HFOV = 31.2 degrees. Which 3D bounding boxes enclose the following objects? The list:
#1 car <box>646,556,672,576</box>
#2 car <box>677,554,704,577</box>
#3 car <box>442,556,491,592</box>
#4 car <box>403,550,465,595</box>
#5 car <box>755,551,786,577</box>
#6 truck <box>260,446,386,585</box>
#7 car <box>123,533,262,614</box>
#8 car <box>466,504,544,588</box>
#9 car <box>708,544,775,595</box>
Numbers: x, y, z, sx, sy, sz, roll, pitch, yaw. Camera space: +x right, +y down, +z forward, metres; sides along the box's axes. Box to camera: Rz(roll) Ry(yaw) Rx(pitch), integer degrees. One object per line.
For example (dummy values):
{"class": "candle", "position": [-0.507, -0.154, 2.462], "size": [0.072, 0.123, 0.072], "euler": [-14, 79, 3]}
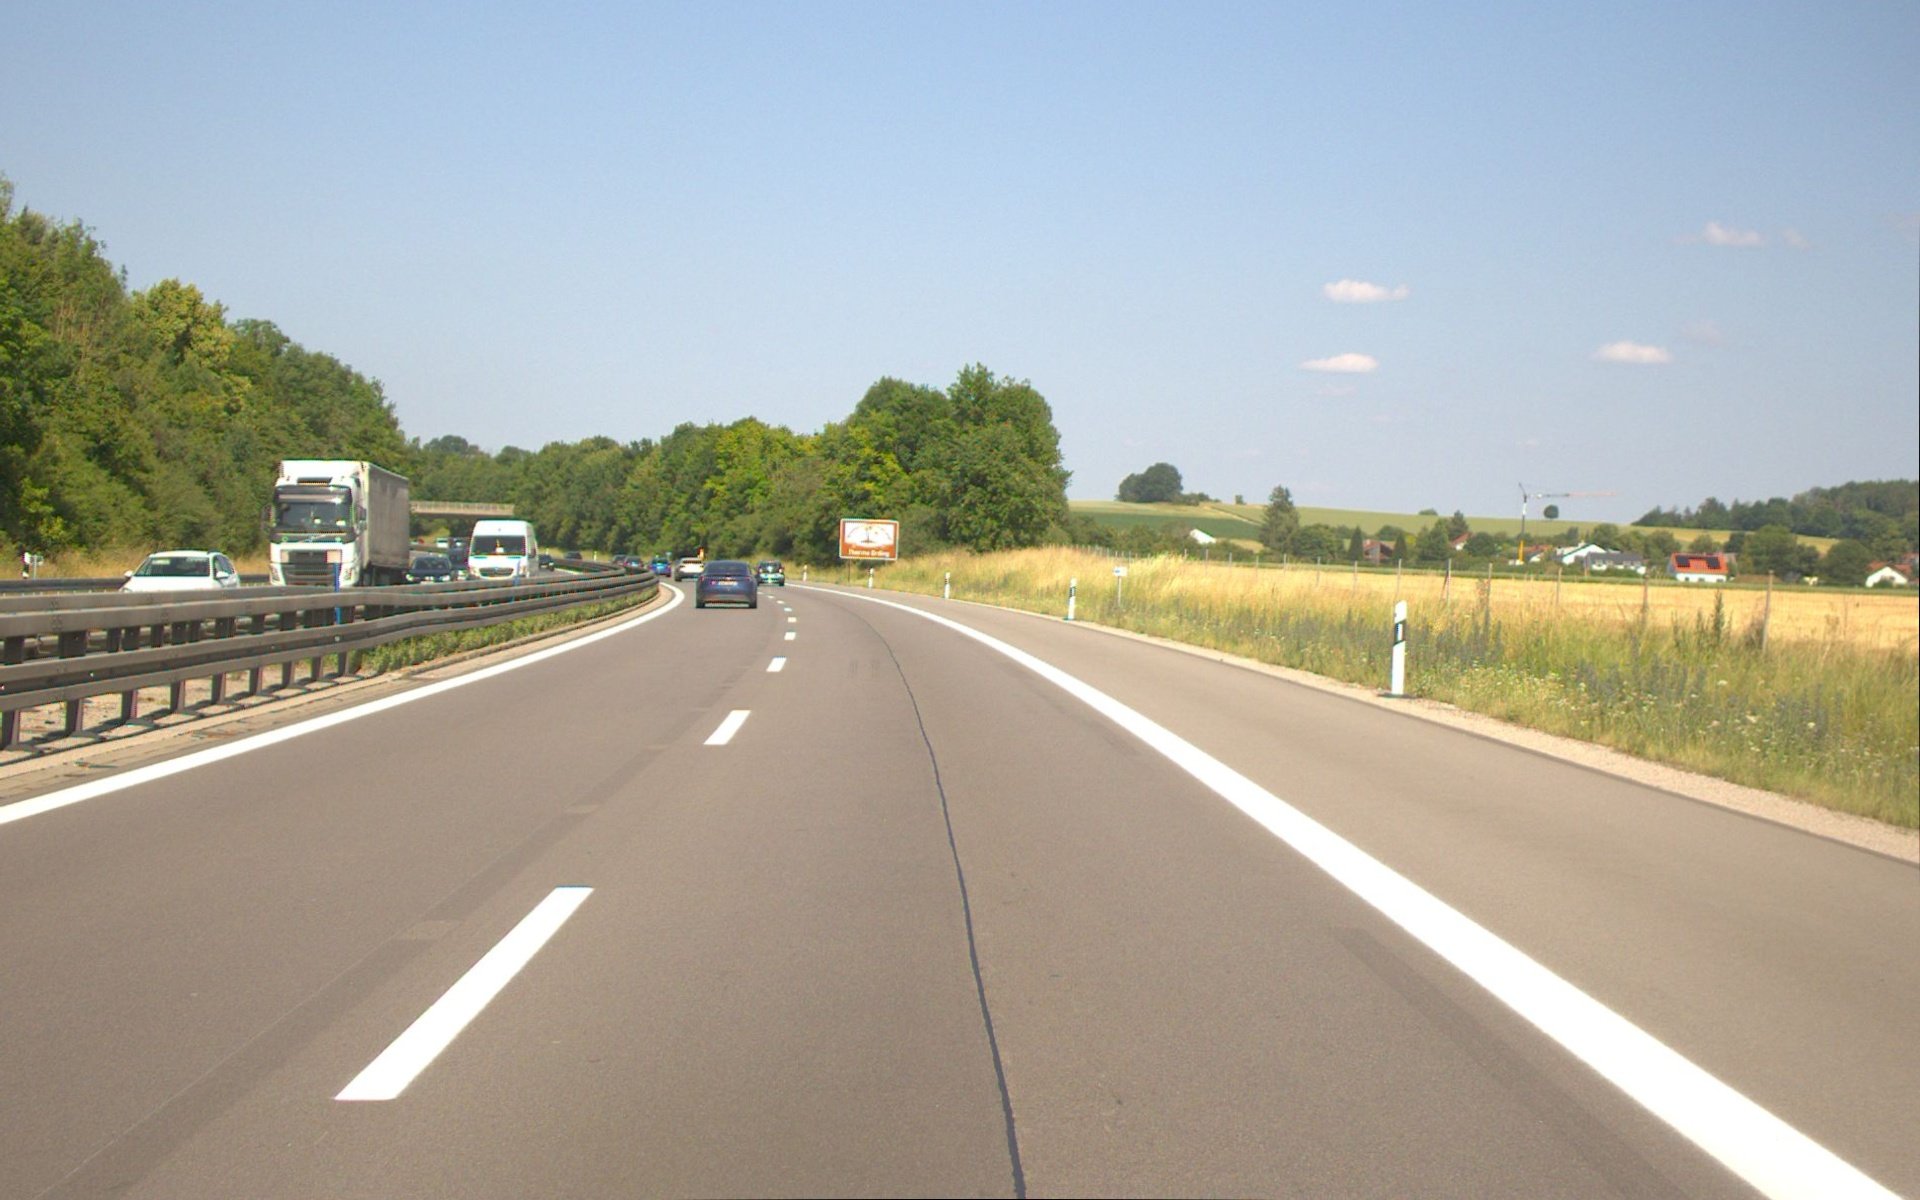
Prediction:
{"class": "car", "position": [-22.582, -2.552, 258.321], "size": [1.676, 1.448, 3.592], "euler": [1, 1, -1]}
{"class": "car", "position": [-17.526, -2.260, 224.014], "size": [1.676, 1.448, 3.592], "euler": [1, 1, -4]}
{"class": "car", "position": [-23.035, -1.235, 160.484], "size": [1.757, 1.621, 4.000], "euler": [1, 1, -1]}
{"class": "car", "position": [-19.801, -1.051, 129.565], "size": [1.757, 1.621, 4.000], "euler": [1, 1, -1]}
{"class": "car", "position": [-10.769, -2.055, 195.279], "size": [1.676, 1.448, 3.592], "euler": [1, 1, -4]}
{"class": "truck", "position": [-18.332, -2.421, 99.207], "size": [2.745, 3.816, 5.912], "euler": [1, 1, -3]}
{"class": "car", "position": [-14.952, -0.543, 67.224], "size": [1.685, 1.478, 4.978], "euler": [1, 1, -1]}
{"class": "car", "position": [-14.727, -1.756, 111.503], "size": [2.088, 2.585, 5.815], "euler": [1, 1, -4]}
{"class": "car", "position": [-6.679, -0.956, 105.582], "size": [1.847, 1.428, 5.866], "euler": [1, 1, -2]}
